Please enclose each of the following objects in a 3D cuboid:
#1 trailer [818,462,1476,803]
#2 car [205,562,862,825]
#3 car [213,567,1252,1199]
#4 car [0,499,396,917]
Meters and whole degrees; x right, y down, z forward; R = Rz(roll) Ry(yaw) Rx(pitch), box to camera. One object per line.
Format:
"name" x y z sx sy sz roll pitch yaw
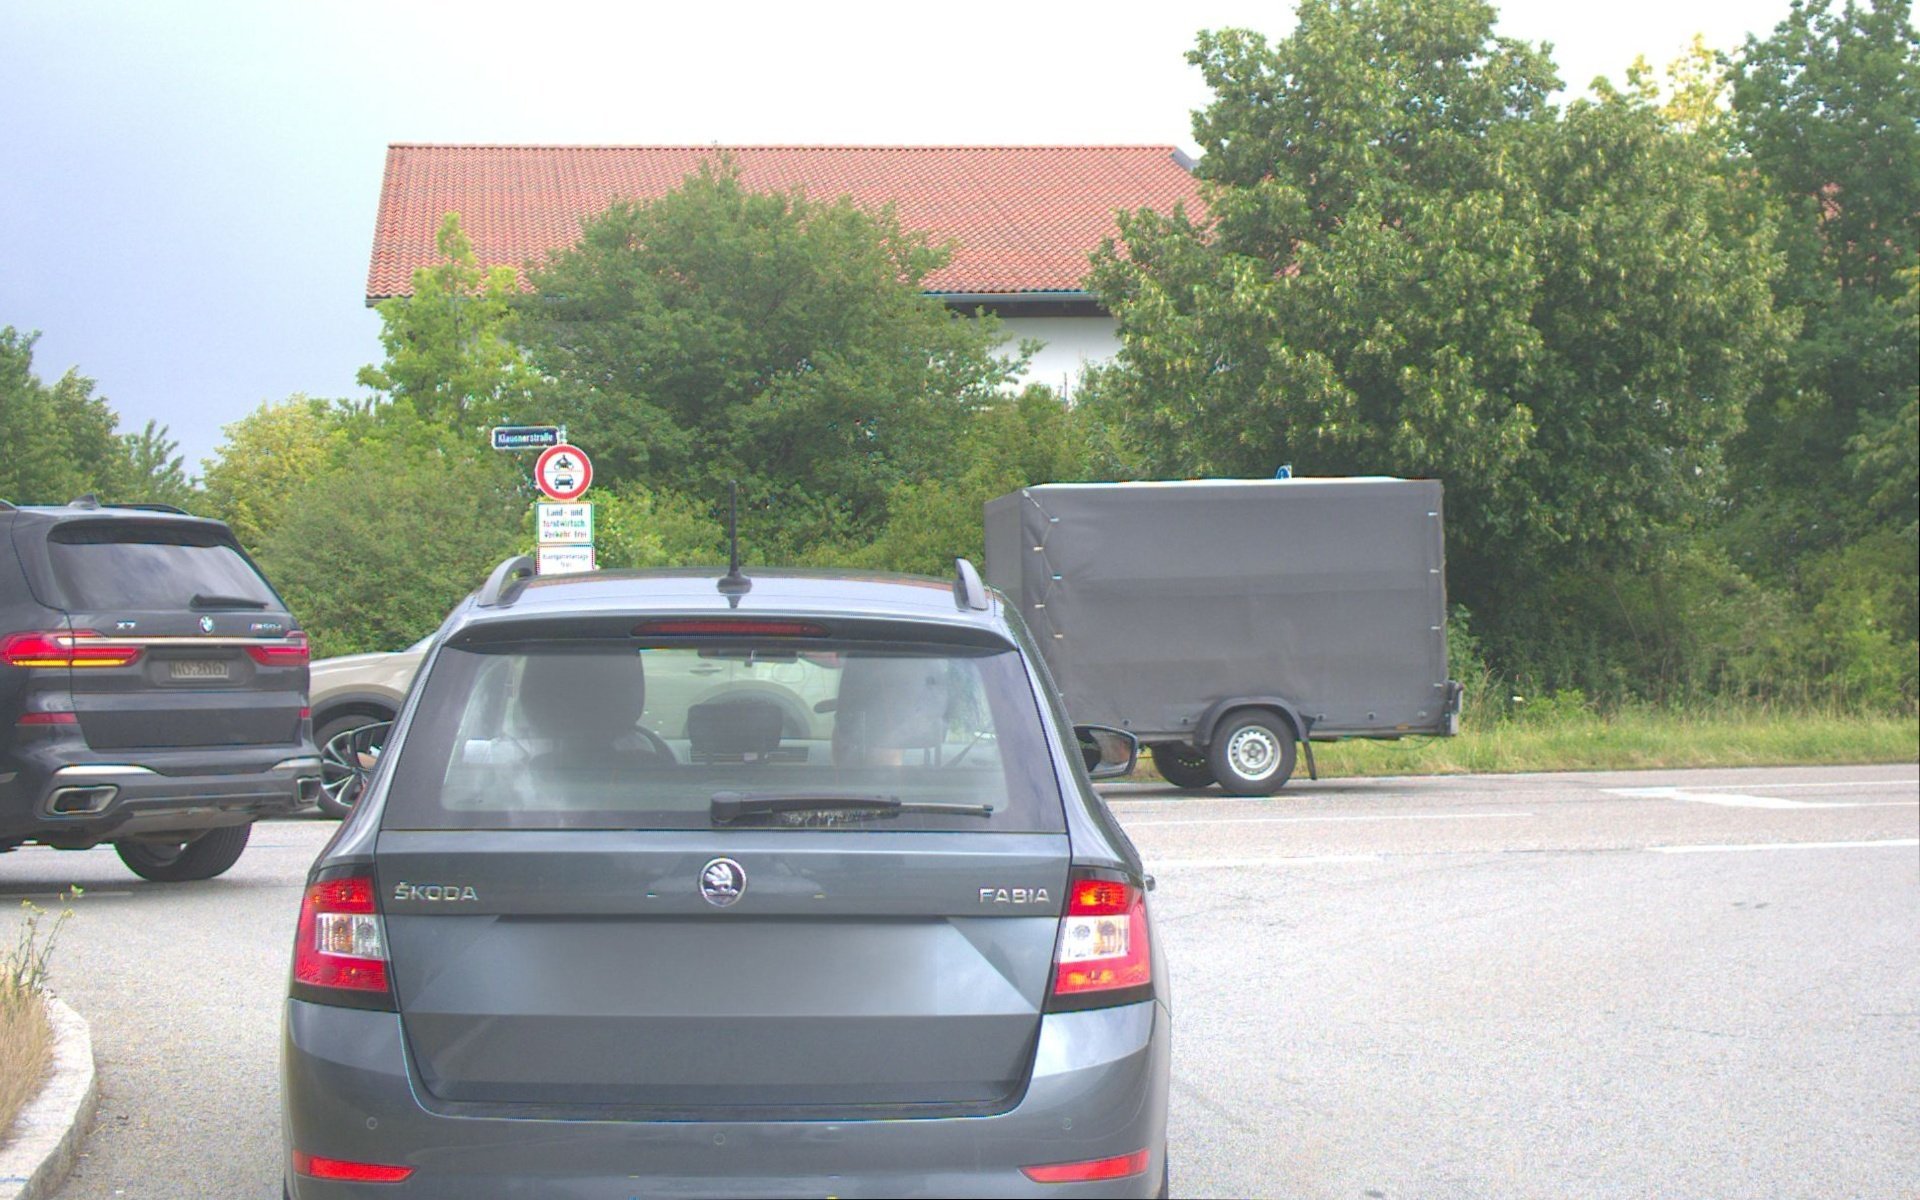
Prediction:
"trailer" 1.303 0.227 25.459 4.380 2.285 2.418 -1 -1 -9
"car" -3.079 0.639 24.669 4.463 1.676 2.000 -1 -1 -10
"car" -0.579 0.667 7.395 1.676 1.458 3.708 0 0 -7
"car" -5.151 0.477 16.653 4.637 1.768 1.996 -1 0 34
